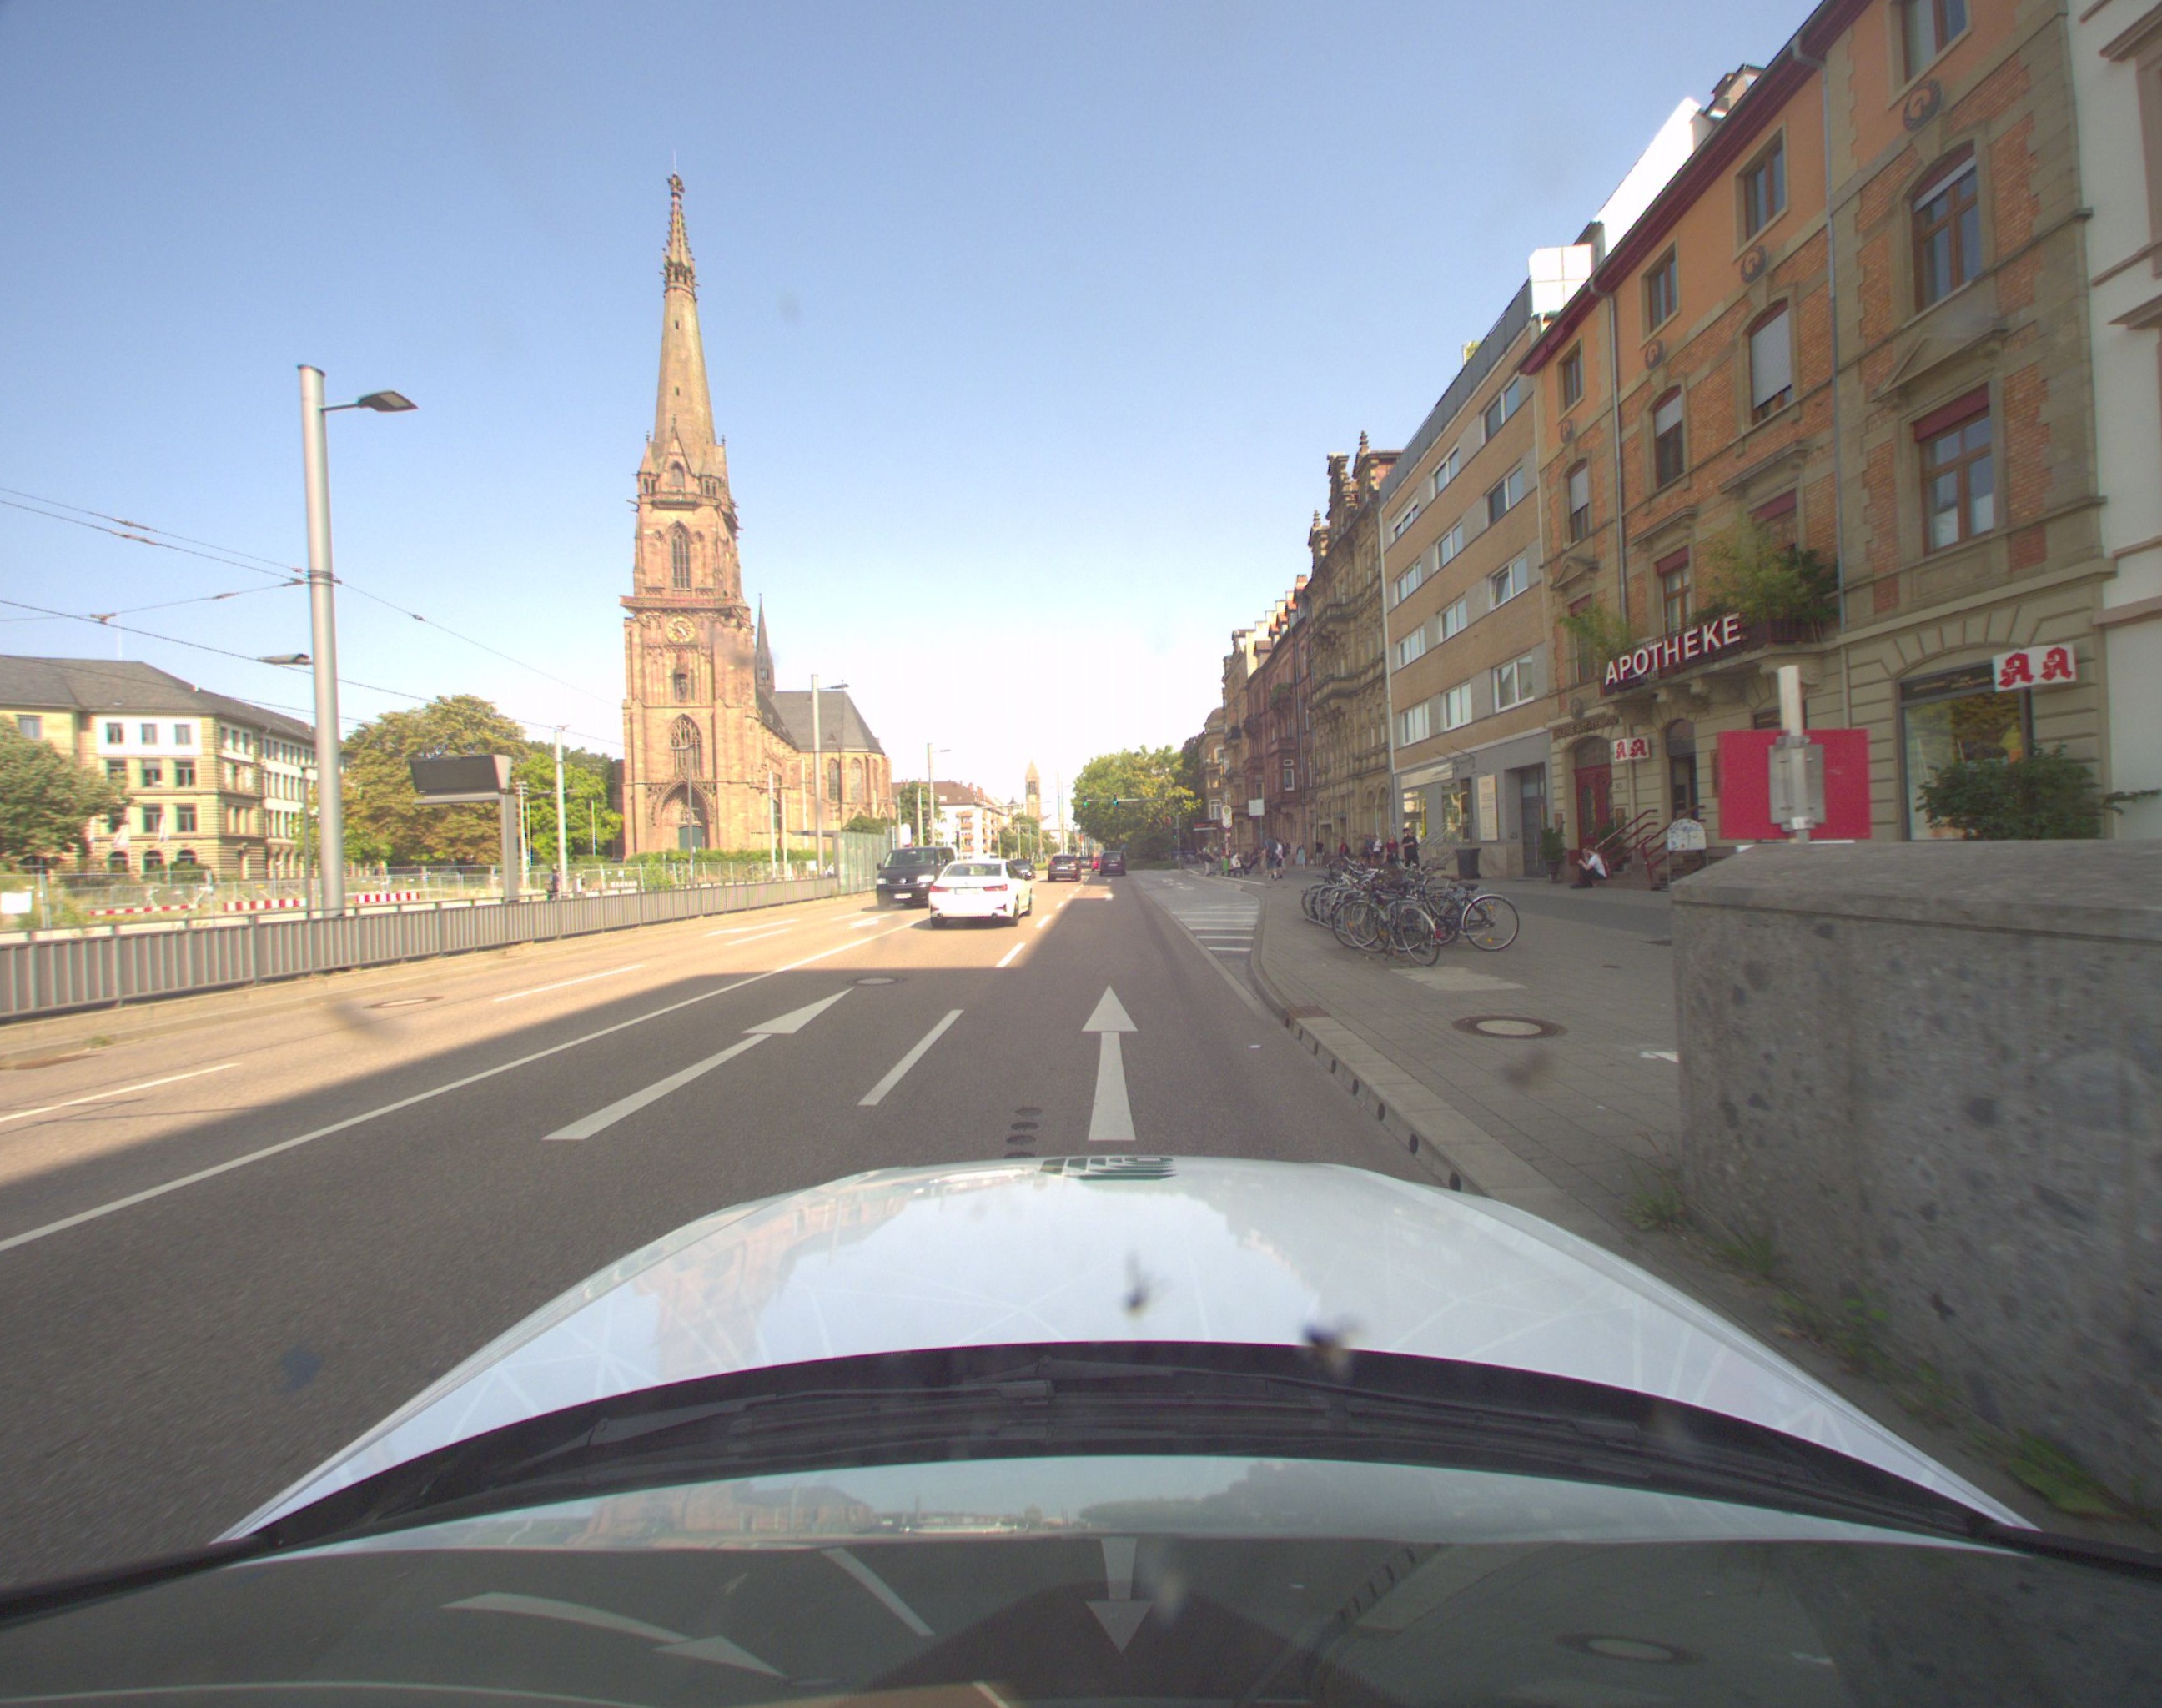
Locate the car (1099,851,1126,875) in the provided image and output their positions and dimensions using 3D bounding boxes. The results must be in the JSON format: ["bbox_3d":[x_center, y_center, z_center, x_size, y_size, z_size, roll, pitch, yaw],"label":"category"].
[{"bbox_3d":[2.249,0.591,57.704,1.824,1.621,4.360,-1,0,2],"label":"car"}]

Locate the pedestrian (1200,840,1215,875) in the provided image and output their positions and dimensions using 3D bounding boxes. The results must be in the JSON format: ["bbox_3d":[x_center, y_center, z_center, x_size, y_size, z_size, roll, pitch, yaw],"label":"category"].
[{"bbox_3d":[6.508,0.172,41.952,0.563,1.729,0.745,-2,0,-1],"label":"pedestrian"}]

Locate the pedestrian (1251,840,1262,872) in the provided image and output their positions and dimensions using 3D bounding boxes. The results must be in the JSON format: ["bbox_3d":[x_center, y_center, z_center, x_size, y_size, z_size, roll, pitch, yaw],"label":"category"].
[{"bbox_3d":[9.683,0.086,44.878,0.340,1.732,0.805,-2,0,-1],"label":"pedestrian"}]

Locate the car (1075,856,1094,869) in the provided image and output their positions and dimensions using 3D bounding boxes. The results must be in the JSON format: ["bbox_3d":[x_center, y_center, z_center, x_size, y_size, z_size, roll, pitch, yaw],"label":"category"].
[{"bbox_3d":[0.428,0.919,90.489,1.856,1.424,4.360,-1,0,2],"label":"car"}]

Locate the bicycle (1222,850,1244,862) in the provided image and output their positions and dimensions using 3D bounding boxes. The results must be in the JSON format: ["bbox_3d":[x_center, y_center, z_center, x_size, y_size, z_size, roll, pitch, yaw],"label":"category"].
[{"bbox_3d":[14.211,0.163,76.097,1.924,1.048,0.499,-3,0,-4],"label":"bicycle"}]

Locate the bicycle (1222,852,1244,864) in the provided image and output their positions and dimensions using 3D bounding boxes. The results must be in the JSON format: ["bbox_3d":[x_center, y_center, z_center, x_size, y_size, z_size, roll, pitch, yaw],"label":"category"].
[{"bbox_3d":[14.376,0.386,76.842,1.924,1.048,0.499,-3,0,-4],"label":"bicycle"}]

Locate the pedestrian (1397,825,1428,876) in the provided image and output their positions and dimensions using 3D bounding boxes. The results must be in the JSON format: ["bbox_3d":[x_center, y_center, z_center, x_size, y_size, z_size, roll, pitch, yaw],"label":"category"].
[{"bbox_3d":[11.911,-0.129,29.287,0.717,1.787,0.857,-2,0,3],"label":"pedestrian"}]

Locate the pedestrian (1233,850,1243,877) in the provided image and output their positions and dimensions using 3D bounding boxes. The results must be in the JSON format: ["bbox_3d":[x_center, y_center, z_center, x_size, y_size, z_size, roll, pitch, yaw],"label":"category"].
[{"bbox_3d":[7.488,0.469,38.855,0.274,1.274,0.447,-2,0,-5],"label":"pedestrian"}]

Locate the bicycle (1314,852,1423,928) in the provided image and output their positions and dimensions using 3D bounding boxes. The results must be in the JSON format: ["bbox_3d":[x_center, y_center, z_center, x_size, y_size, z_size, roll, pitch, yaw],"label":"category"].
[{"bbox_3d":[4.704,0.584,13.345,1.629,1.148,0.385,-3,0,-3],"label":"bicycle"}]

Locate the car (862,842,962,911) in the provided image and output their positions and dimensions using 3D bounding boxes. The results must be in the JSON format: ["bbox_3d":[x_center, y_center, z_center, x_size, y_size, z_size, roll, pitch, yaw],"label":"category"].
[{"bbox_3d":[-5.317,0.663,26.318,1.986,1.904,4.718,-4,0,2],"label":"car"}]

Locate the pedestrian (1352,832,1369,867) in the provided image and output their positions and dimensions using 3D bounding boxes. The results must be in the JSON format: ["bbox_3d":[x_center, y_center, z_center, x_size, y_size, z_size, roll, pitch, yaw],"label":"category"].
[{"bbox_3d":[13.971,-0.227,40.705,0.601,1.692,0.587,-2,0,-1],"label":"pedestrian"}]

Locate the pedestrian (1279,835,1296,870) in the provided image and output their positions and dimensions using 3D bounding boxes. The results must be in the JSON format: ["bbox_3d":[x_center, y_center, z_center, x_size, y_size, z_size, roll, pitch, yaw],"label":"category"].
[{"bbox_3d":[10.987,-0.076,43.282,0.614,1.804,1.072,-2,0,3],"label":"pedestrian"}]

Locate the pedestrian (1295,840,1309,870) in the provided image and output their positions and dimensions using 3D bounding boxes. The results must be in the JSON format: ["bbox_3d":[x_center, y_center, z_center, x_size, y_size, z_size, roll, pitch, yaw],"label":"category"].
[{"bbox_3d":[11.800,0.051,43.465,0.484,1.610,0.813,-2,0,3],"label":"pedestrian"}]

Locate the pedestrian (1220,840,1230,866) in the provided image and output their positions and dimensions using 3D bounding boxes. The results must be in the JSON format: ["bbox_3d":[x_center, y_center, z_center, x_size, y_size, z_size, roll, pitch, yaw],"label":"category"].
[{"bbox_3d":[9.854,-0.073,55.797,0.480,1.702,0.703,-2,0,-1],"label":"pedestrian"}]

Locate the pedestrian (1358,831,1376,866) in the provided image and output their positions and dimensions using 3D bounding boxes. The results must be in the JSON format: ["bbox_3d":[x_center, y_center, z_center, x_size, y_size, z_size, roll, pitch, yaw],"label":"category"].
[{"bbox_3d":[14.032,-0.271,40.014,0.601,1.692,0.587,-2,0,-1],"label":"pedestrian"}]

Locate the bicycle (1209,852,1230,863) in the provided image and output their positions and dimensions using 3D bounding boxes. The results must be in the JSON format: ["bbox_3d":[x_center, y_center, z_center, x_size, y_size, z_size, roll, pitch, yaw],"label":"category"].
[{"bbox_3d":[13.876,0.370,81.452,1.924,1.048,0.526,-3,0,-4],"label":"bicycle"}]

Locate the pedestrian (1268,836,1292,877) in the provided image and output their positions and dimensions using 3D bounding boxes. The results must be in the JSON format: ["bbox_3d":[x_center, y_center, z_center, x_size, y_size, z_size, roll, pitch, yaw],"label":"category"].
[{"bbox_3d":[8.731,0.117,35.732,0.747,1.729,0.800,-2,0,-1],"label":"pedestrian"}]

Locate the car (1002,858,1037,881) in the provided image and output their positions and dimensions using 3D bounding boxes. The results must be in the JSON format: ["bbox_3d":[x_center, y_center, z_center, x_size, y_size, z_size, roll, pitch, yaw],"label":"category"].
[{"bbox_3d":[-4.000,0.980,53.252,1.707,1.331,4.523,-4,0,2],"label":"car"}]

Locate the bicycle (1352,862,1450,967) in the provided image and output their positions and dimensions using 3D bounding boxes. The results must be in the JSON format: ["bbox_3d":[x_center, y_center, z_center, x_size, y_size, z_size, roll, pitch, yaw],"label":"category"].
[{"bbox_3d":[3.858,0.688,9.945,0.406,1.148,1.654,-3,0,-4],"label":"bicycle"}]

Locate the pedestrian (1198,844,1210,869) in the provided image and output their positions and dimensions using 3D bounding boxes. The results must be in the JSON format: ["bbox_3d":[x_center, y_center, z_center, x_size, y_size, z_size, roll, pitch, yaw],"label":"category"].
[{"bbox_3d":[8.504,0.162,56.357,0.688,1.664,0.620,-2,0,2],"label":"pedestrian"}]

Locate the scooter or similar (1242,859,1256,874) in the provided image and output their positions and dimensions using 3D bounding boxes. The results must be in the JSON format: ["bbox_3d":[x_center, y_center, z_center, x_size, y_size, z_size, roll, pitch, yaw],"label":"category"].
[{"bbox_3d":[8.611,0.653,41.697,0.563,0.741,0.514,-2,0,-1],"label":"scooter or similar"}]

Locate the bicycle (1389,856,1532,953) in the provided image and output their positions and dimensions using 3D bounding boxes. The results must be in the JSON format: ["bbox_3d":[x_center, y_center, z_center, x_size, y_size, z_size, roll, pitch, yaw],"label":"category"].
[{"bbox_3d":[4.845,0.633,10.423,1.629,1.148,0.385,-3,0,-3],"label":"bicycle"}]

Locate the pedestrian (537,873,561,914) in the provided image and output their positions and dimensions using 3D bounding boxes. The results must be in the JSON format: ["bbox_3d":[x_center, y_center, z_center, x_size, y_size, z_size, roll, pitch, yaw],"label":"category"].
[{"bbox_3d":[-22.900,1.678,35.049,0.515,1.700,0.665,-2,0,1],"label":"pedestrian"}]

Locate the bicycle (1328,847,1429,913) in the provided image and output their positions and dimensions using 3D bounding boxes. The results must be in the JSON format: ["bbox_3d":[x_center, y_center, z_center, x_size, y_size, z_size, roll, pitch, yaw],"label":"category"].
[{"bbox_3d":[5.539,0.474,15.228,1.625,1.148,0.602,-3,0,4],"label":"bicycle"}]

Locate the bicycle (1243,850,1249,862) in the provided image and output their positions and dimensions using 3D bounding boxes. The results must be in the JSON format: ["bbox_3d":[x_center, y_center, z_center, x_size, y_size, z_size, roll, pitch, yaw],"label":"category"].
[{"bbox_3d":[15.104,0.153,74.664,0.414,1.048,1.673,-3,0,7],"label":"bicycle"}]

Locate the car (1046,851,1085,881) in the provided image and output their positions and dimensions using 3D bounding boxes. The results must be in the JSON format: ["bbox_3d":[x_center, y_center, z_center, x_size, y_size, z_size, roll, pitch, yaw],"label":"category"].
[{"bbox_3d":[-0.850,0.669,48.070,1.985,1.621,4.360,-1,0,2],"label":"car"}]

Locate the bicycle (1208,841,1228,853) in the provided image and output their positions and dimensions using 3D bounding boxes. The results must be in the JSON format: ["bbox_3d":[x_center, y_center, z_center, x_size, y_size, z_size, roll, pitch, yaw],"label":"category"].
[{"bbox_3d":[14.023,-0.713,83.436,1.924,1.048,0.526,-3,0,-4],"label":"bicycle"}]

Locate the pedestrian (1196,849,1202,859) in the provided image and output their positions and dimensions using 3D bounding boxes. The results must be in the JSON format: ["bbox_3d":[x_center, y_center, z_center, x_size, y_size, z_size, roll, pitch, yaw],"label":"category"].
[{"bbox_3d":[14.350,-0.001,98.984,0.595,1.248,0.507,-3,0,1],"label":"pedestrian"}]

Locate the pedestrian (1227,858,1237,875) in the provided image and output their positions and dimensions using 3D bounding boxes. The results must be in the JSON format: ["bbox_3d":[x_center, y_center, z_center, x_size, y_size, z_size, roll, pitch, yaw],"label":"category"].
[{"bbox_3d":[7.391,0.628,39.985,0.302,0.820,0.603,-2,0,-5],"label":"pedestrian"}]

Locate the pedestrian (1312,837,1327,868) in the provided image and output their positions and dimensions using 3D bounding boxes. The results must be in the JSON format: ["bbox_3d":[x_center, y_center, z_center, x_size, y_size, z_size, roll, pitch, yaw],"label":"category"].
[{"bbox_3d":[13.786,-0.100,47.037,0.627,1.719,0.691,-2,0,2],"label":"pedestrian"}]

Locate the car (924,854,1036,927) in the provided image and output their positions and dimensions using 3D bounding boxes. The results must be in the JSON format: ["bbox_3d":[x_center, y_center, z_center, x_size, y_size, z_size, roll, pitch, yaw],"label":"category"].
[{"bbox_3d":[-2.140,0.730,18.586,1.802,1.427,4.777,0,0,2],"label":"car"}]

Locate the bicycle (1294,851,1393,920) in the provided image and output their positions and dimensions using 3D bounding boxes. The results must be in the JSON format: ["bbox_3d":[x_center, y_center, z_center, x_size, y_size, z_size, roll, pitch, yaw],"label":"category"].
[{"bbox_3d":[4.722,0.565,14.657,1.629,1.148,0.385,-3,0,-3],"label":"bicycle"}]

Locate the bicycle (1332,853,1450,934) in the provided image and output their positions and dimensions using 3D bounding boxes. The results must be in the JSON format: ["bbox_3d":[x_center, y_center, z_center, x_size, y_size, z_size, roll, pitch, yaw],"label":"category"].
[{"bbox_3d":[4.748,0.594,12.501,1.629,1.148,0.385,-3,0,-3],"label":"bicycle"}]

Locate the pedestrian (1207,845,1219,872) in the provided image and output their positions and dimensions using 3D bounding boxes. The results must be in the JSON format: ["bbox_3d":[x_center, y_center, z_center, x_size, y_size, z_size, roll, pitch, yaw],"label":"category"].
[{"bbox_3d":[7.998,0.272,49.345,0.526,1.612,0.703,-2,0,-1],"label":"pedestrian"}]

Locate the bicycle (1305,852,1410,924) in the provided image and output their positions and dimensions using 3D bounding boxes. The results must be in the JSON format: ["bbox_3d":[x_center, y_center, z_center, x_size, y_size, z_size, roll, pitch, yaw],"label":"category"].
[{"bbox_3d":[4.733,0.570,13.961,1.629,1.148,0.385,-3,0,-3],"label":"bicycle"}]

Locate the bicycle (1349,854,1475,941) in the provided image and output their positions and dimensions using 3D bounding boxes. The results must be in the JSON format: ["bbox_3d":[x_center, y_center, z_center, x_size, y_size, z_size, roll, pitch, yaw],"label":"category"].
[{"bbox_3d":[4.767,0.616,11.753,1.629,1.148,0.385,-3,0,-3],"label":"bicycle"}]

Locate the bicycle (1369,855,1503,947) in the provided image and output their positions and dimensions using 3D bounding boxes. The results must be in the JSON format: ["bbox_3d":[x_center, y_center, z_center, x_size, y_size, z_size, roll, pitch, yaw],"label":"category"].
[{"bbox_3d":[4.824,0.624,11.089,1.629,1.148,0.385,-3,0,-3],"label":"bicycle"}]

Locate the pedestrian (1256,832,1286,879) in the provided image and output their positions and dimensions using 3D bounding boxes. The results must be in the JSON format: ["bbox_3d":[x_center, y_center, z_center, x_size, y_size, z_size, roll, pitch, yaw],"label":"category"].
[{"bbox_3d":[7.621,0.042,32.723,0.923,1.831,0.800,-2,0,-2],"label":"pedestrian"}]

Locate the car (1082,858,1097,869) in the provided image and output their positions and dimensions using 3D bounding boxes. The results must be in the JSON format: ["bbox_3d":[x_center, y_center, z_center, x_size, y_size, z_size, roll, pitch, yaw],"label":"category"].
[{"bbox_3d":[1.217,1.314,112.220,1.856,1.424,4.360,-1,0,2],"label":"car"}]

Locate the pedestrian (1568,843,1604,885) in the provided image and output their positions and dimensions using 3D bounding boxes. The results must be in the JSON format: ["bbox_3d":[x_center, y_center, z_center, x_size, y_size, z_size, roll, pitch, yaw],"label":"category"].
[{"bbox_3d":[12.161,0.238,19.626,0.606,0.982,0.640,-3,0,22],"label":"pedestrian"}]

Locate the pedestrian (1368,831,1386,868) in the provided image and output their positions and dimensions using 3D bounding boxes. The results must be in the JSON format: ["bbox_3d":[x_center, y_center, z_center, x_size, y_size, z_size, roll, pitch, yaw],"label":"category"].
[{"bbox_3d":[14.144,-0.232,38.949,0.601,1.731,0.510,-2,0,-2],"label":"pedestrian"}]

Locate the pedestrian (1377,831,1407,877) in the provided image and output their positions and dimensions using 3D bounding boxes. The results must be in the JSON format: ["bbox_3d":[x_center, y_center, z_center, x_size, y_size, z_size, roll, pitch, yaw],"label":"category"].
[{"bbox_3d":[11.201,-0.011,29.340,0.717,1.610,0.857,-2,0,3],"label":"pedestrian"}]

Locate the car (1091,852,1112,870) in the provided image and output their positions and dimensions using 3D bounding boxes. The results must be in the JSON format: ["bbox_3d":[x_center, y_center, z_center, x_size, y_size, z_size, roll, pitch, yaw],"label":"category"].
[{"bbox_3d":[1.929,0.645,76.497,1.824,1.621,4.360,-1,0,2],"label":"car"}]

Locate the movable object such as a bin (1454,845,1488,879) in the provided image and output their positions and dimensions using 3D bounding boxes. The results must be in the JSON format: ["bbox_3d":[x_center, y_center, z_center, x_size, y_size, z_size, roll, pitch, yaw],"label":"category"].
[{"bbox_3d":[12.999,0.257,27.176,0.738,1.080,0.666,-2,0,-15],"label":"movable object such as a bin"}]

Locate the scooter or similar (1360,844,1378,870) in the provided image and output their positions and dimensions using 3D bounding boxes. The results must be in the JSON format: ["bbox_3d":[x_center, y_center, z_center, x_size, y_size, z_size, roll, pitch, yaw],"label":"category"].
[{"bbox_3d":[13.374,0.119,37.855,0.359,1.163,1.152,-2,0,0],"label":"scooter or similar"}]

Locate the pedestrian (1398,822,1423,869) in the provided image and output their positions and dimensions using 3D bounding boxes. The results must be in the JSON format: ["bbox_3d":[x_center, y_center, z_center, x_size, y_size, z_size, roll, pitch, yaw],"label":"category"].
[{"bbox_3d":[13.316,-0.334,32.918,0.601,1.831,0.742,-2,0,-1],"label":"pedestrian"}]

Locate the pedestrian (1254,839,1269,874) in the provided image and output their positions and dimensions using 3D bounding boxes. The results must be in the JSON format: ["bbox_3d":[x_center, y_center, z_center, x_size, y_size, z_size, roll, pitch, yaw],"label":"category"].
[{"bbox_3d":[9.232,0.135,41.710,0.563,1.729,0.617,-2,0,-1],"label":"pedestrian"}]

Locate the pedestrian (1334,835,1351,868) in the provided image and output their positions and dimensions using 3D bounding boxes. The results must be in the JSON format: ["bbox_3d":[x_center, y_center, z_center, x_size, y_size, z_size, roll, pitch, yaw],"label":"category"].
[{"bbox_3d":[13.727,-0.130,42.741,0.601,1.654,0.587,-2,0,-1],"label":"pedestrian"}]

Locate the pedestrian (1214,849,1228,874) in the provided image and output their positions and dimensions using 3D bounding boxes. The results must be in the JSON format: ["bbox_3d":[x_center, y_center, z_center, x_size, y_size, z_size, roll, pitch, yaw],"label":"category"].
[{"bbox_3d":[7.180,0.382,41.886,0.563,1.277,0.597,-2,0,-2],"label":"pedestrian"}]

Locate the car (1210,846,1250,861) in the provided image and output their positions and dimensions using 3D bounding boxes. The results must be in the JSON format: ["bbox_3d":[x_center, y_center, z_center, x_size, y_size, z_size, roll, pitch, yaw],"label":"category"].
[{"bbox_3d":[17.431,-0.043,95.387,4.170,1.563,1.998,-3,0,-3],"label":"car"}]

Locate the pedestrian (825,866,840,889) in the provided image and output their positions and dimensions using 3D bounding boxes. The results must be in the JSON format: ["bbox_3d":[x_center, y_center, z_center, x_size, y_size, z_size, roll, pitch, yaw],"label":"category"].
[{"bbox_3d":[-18.714,1.779,61.310,0.913,1.679,0.602,-3,0,1],"label":"pedestrian"}]
